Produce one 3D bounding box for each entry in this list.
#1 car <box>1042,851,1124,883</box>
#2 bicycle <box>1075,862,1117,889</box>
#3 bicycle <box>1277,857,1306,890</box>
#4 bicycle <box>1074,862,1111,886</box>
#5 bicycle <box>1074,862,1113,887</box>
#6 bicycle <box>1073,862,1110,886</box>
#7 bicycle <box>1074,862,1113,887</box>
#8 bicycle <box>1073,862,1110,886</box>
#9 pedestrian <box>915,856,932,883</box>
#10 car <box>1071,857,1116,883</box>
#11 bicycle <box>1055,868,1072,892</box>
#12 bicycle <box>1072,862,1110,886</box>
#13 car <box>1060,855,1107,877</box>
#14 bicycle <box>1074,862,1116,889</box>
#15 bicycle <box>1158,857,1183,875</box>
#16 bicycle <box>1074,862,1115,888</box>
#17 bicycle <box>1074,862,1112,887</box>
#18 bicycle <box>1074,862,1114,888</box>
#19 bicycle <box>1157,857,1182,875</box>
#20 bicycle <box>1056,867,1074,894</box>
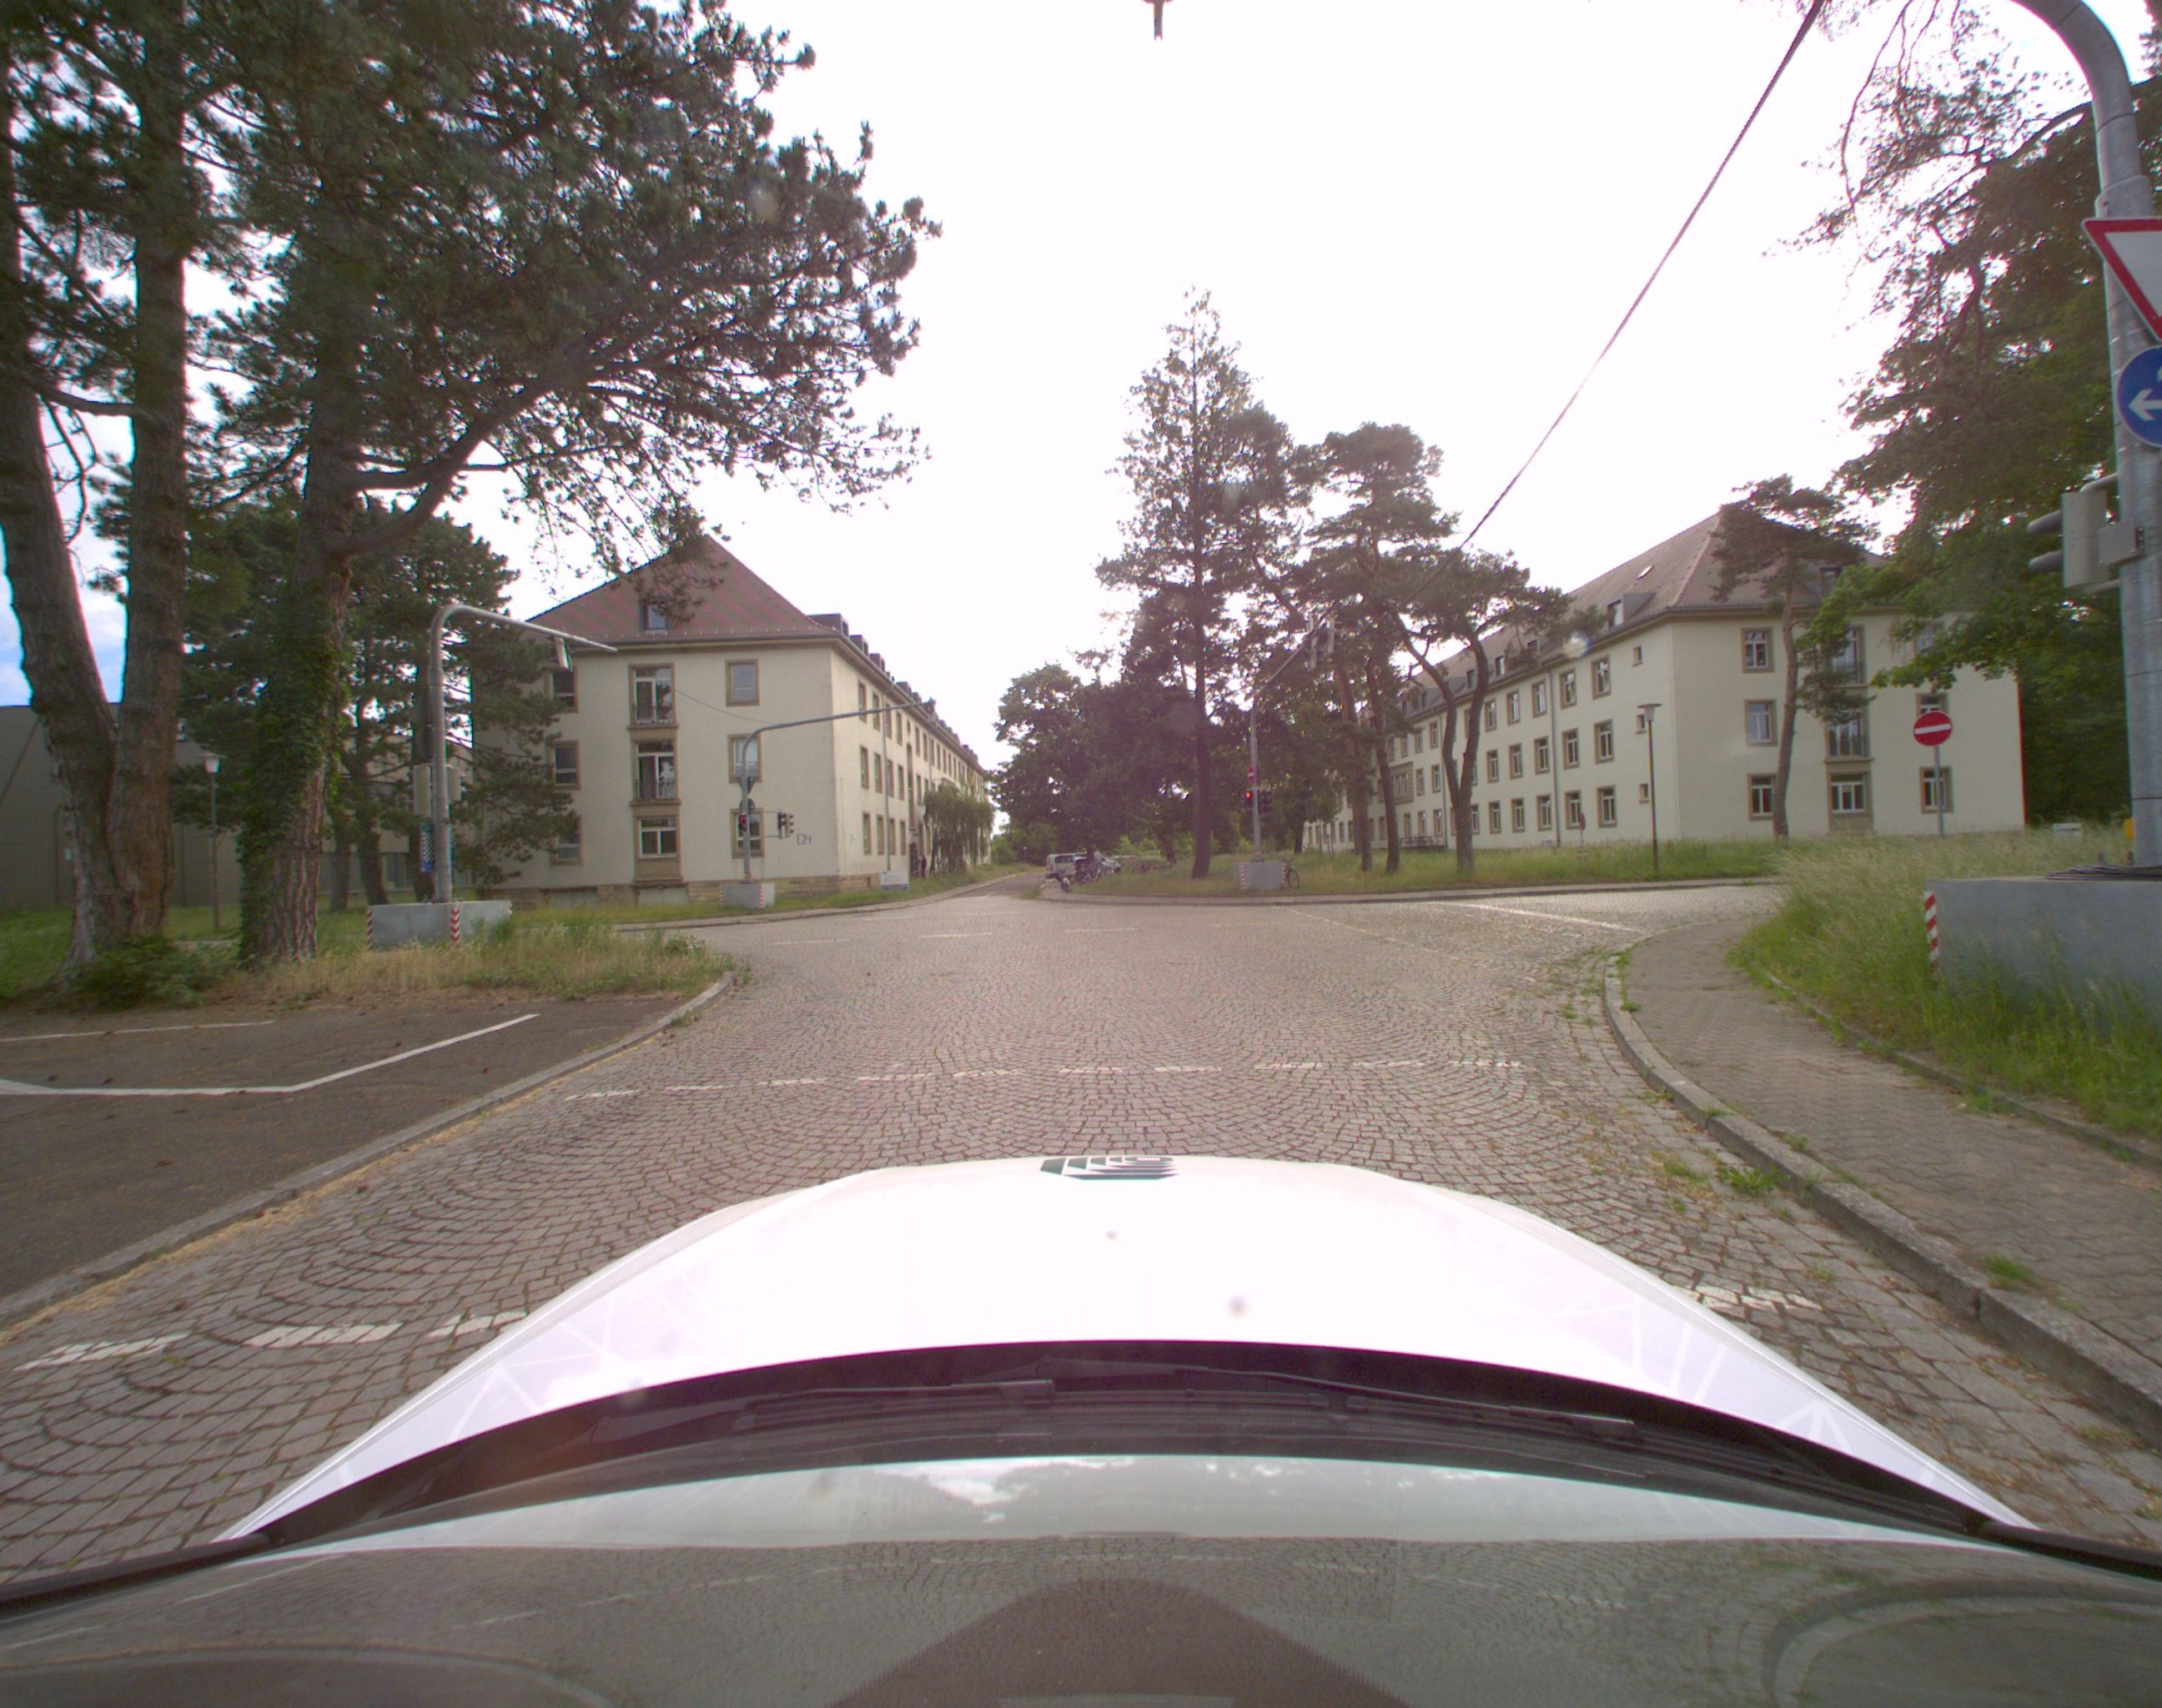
[{"bbox_3d":[0.139,0.925,57.326,5.314,1.916,2.139,-3,0,-15],"label":"car"},{"bbox_3d":[0.696,1.032,39.235,1.977,1.248,0.624,-1,-1,-3],"label":"bicycle"},{"bbox_3d":[6.942,0.623,26.916,0.578,0.970,1.679,-4,1,4],"label":"bicycle"},{"bbox_3d":[0.614,1.091,43.883,1.977,1.248,0.624,-1,-1,-3],"label":"bicycle"},{"bbox_3d":[0.640,1.071,42.281,1.977,1.248,0.624,-1,-1,-3],"label":"bicycle"},{"bbox_3d":[0.584,1.098,44.396,1.977,1.248,0.624,-1,-1,-3],"label":"bicycle"},{"bbox_3d":[0.648,1.077,42.806,1.977,1.248,0.624,-1,-1,-3],"label":"bicycle"},{"bbox_3d":[0.560,1.105,44.889,1.977,1.248,0.624,-1,-1,-3],"label":"bicycle"},{"bbox_3d":[-10.627,1.030,54.972,0.833,1.781,0.942,-2,-1,5],"label":"pedestrian"},{"bbox_3d":[0.798,1.046,53.859,2.839,1.558,1.471,-3,1,-1],"label":"car"},{"bbox_3d":[-0.787,1.196,37.789,0.619,1.082,1.679,-1,-1,4],"label":"bicycle"},{"bbox_3d":[0.549,1.113,45.549,1.977,1.248,0.624,-4,-1,-3],"label":"bicycle"},{"bbox_3d":[0.189,1.067,71.211,4.021,1.718,1.680,-2,-1,-2],"label":"car"},{"bbox_3d":[0.686,1.040,39.863,1.977,1.248,0.624,-1,-1,-3],"label":"bicycle"},{"bbox_3d":[5.822,0.779,52.877,1.543,1.124,0.401,-2,-1,1],"label":"bicycle"},{"bbox_3d":[0.658,1.052,40.789,1.977,1.248,0.624,-1,-1,-3],"label":"bicycle"},{"bbox_3d":[0.624,1.083,43.249,1.977,1.248,0.624,-1,-1,-3],"label":"bicycle"},{"bbox_3d":[0.644,1.063,41.648,1.977,1.248,0.624,-1,-1,-3],"label":"bicycle"},{"bbox_3d":[5.881,0.790,54.109,1.543,1.124,0.401,-2,-1,1],"label":"bicycle"},{"bbox_3d":[-0.692,1.154,35.837,0.620,1.113,1.990,-1,-1,3],"label":"bicycle"}]
